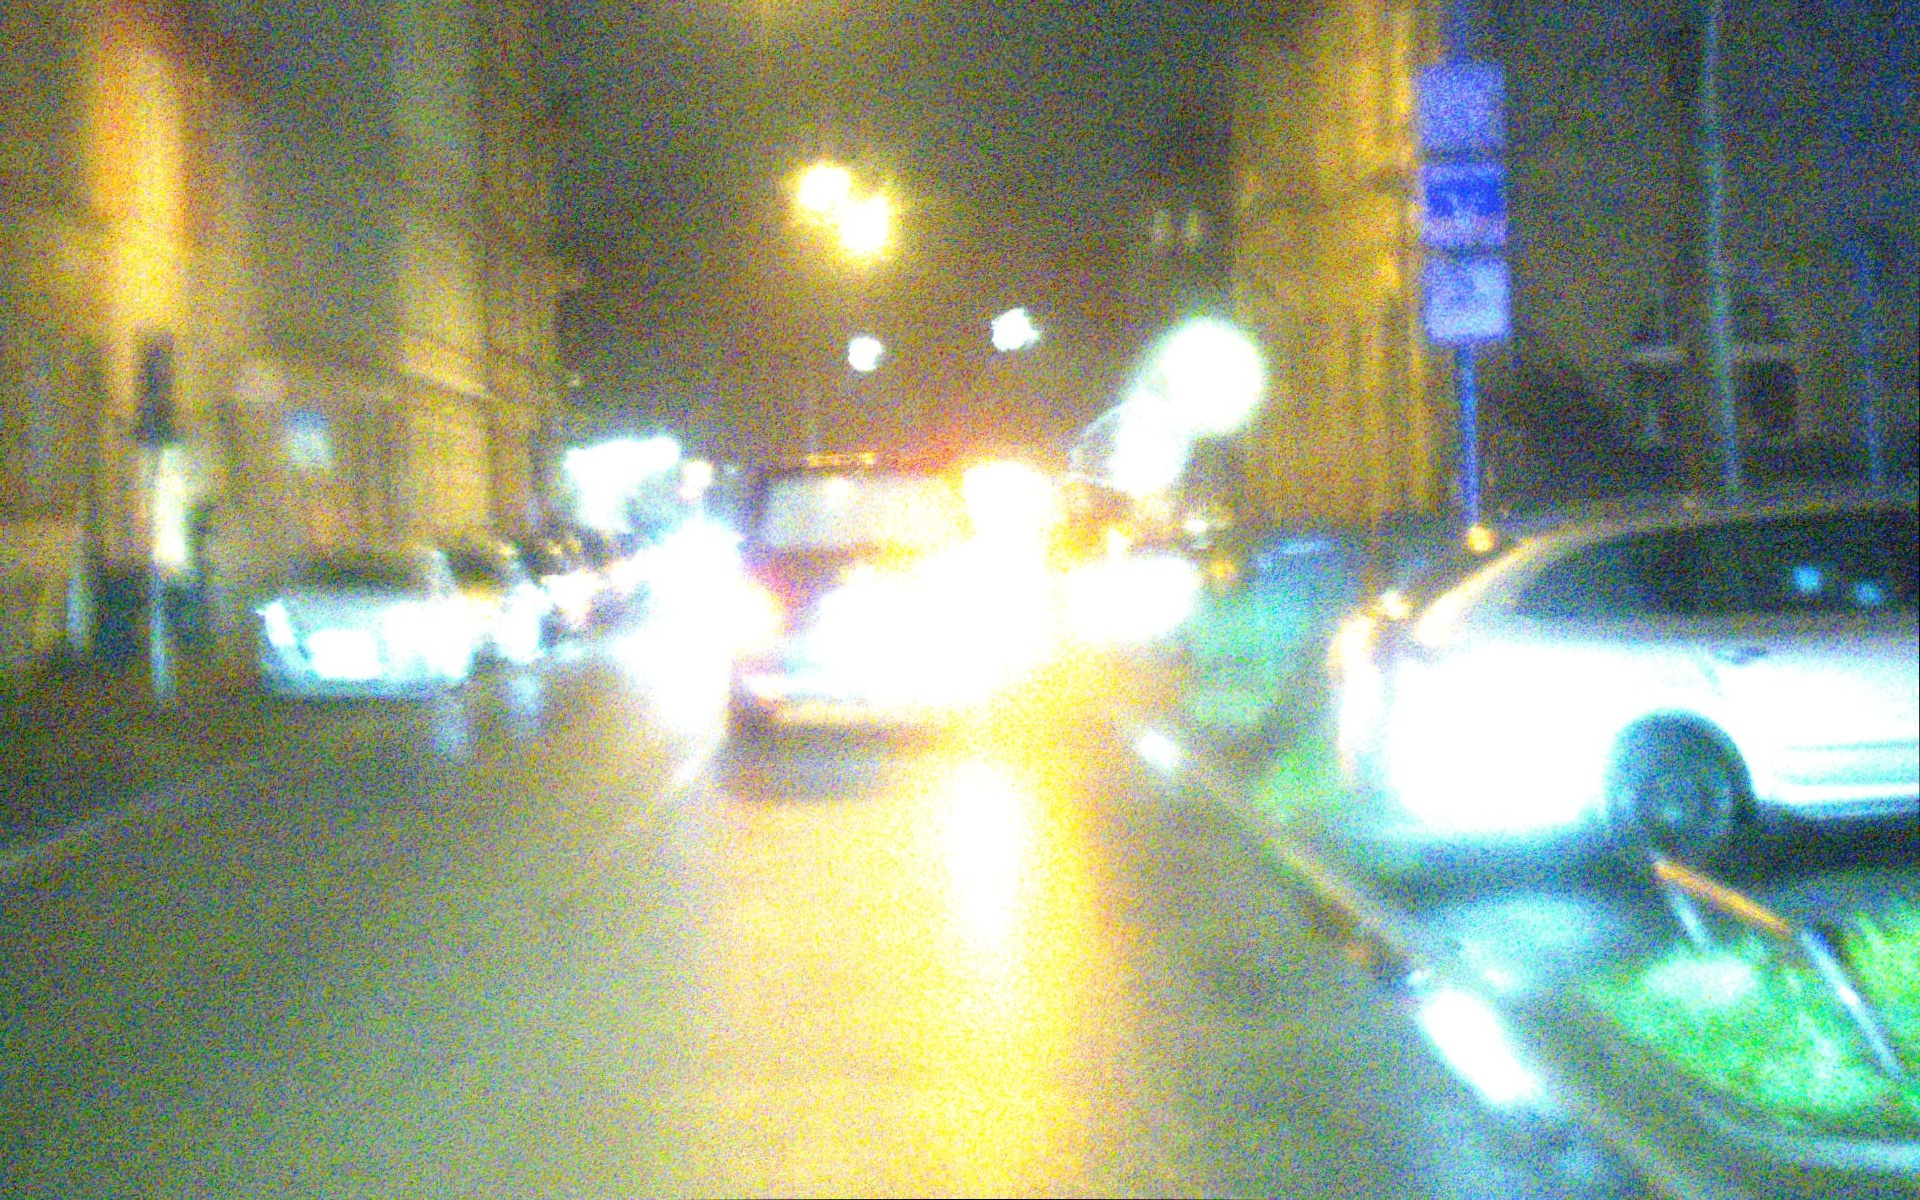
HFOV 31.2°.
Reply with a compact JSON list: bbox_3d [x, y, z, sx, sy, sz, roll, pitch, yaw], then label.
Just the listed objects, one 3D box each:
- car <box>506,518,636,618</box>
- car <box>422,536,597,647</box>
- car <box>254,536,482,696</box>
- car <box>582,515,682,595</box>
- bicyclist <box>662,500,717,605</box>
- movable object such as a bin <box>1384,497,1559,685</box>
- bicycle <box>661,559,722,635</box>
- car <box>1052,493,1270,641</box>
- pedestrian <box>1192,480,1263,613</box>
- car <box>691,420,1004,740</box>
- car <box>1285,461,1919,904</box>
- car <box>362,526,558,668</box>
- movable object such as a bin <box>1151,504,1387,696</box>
[{"bbox_3d":[-6.404,-0.558,56.941,1.745,1.583,3.766,-1,1,-1],"label":"car"},{"bbox_3d":[-6.067,-0.150,46.697,1.822,1.385,4.426,-1,1,-1],"label":"car"},{"bbox_3d":[-5.835,0.118,34.238,1.672,1.486,3.722,0,1,-1],"label":"car"},{"bbox_3d":[-7.293,-1.025,76.810,1.832,1.711,4.595,-1,1,-1],"label":"car"},{"bbox_3d":[-4.080,-0.722,51.856,0.718,1.551,0.895,-2,1,-1],"label":"bicyclist"},{"bbox_3d":[4.020,-0.084,27.028,1.309,1.424,1.050,-1,1,9],"label":"movable object such as a bin"},{"bbox_3d":[-4.049,-0.058,51.935,0.727,1.069,2.348,-2,1,-1],"label":"bicycle"},{"bbox_3d":[2.102,-0.386,37.069,1.993,1.459,4.417,-1,1,-1],"label":"car"},{"bbox_3d":[3.732,-0.761,48.056,0.862,1.782,1.083,-3,2,3],"label":"pedestrian"},{"bbox_3d":[-0.740,-0.192,24.667,1.996,2.042,4.694,-1,2,0],"label":"car"},{"bbox_3d":[3.750,0.214,14.242,4.512,1.525,1.780,-5,1,-1],"label":"car"},{"bbox_3d":[-5.937,-0.075,41.231,1.774,1.567,4.135,-1,1,-1],"label":"car"},{"bbox_3d":[2.402,-0.011,26.763,1.337,1.424,1.201,-2,1,-37],"label":"movable object such as a bin"}]
